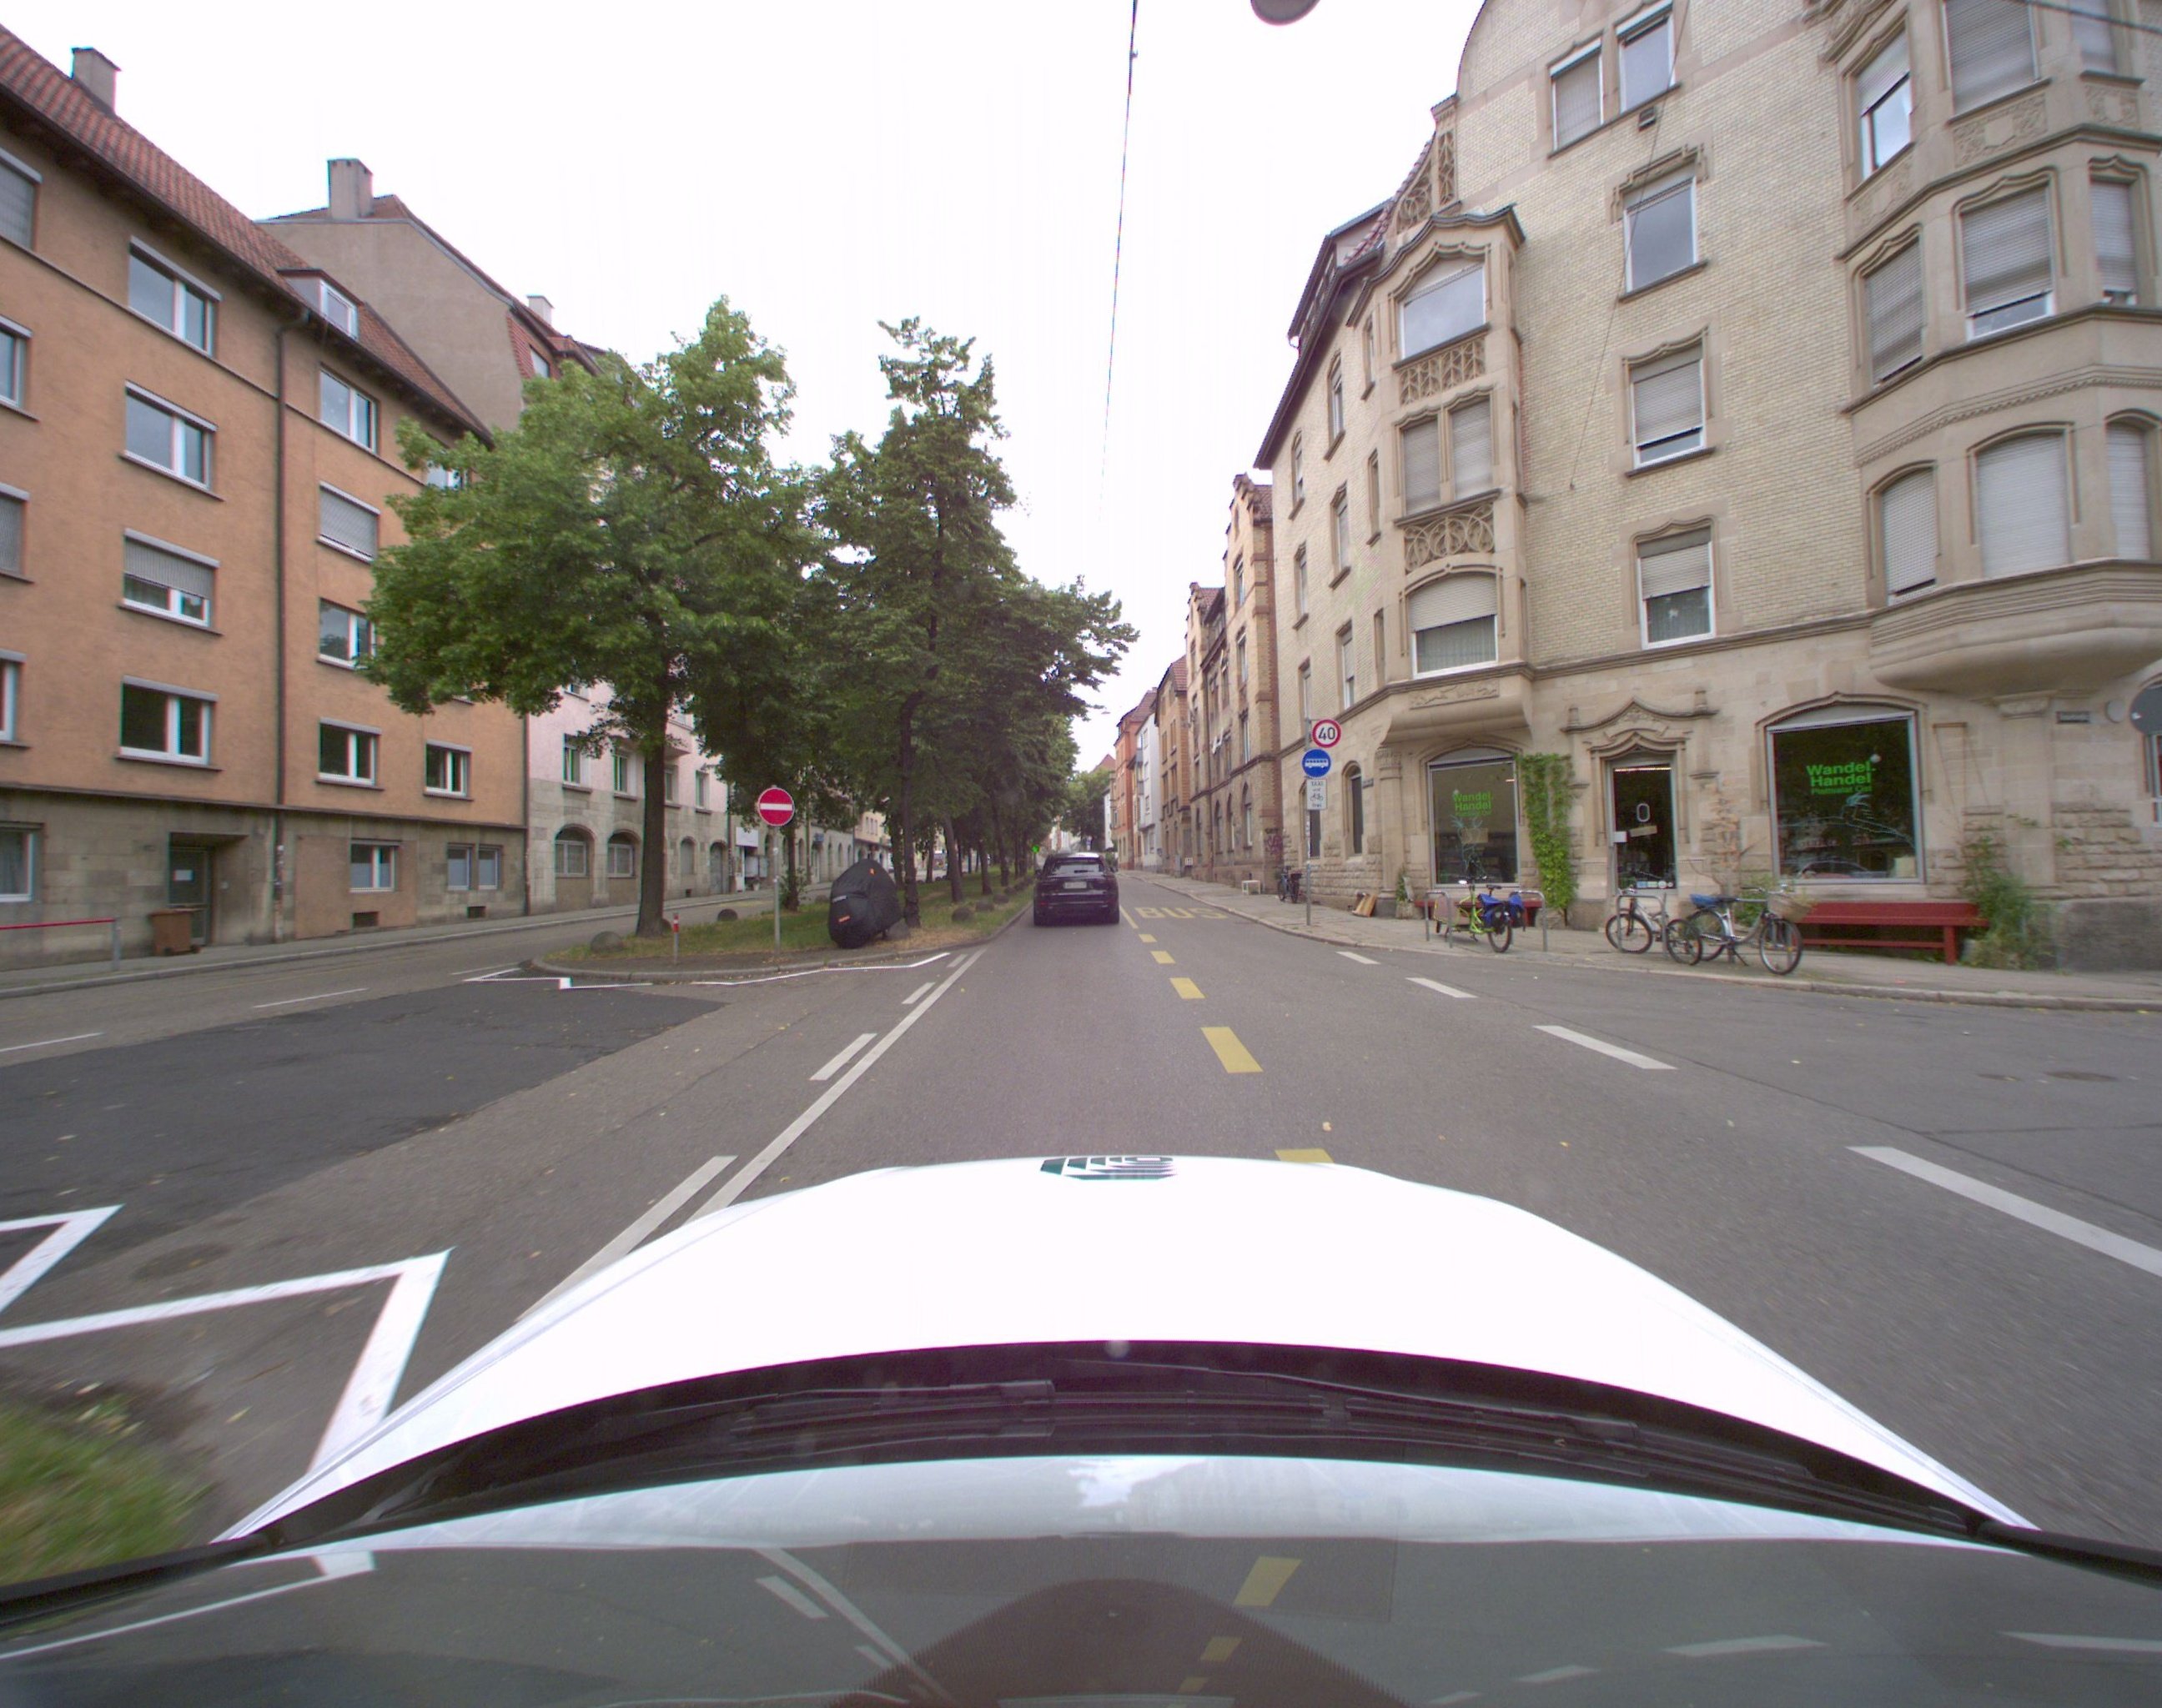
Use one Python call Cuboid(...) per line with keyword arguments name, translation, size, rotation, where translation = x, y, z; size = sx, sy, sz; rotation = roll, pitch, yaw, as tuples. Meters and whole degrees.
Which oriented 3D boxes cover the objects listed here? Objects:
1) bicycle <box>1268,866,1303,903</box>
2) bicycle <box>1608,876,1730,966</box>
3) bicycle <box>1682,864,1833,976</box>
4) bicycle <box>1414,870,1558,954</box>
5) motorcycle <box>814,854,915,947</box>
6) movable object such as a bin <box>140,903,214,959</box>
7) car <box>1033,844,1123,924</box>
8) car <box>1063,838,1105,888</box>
Cuboid(name="bicycle", translation=(6.050, 0.873, 24.207), size=(0.445, 1.037, 2.248), rotation=(-2, -1, 0))
Cuboid(name="bicycle", translation=(8.032, 0.875, 11.224), size=(0.347, 1.059, 1.834), rotation=(1, 1, 1))
Cuboid(name="bicycle", translation=(8.797, 0.808, 10.698), size=(0.445, 1.161, 1.835), rotation=(-2, 5, 1))
Cuboid(name="bicycle", translation=(6.296, 0.838, 12.927), size=(0.875, 1.129, 2.980), rotation=(-1, 0, 2))
Cuboid(name="motorcycle", translation=(-3.710, 0.749, 14.219), size=(1.016, 1.446, 2.248), rotation=(-3, -1, 2))
Cuboid(name="movable object such as a bin", translation=(-17.975, 1.520, 16.208), size=(0.690, 1.060, 0.689), rotation=(-1, -1, -3))
Cuboid(name="car", translation=(-0.098, 0.638, 19.905), size=(1.988, 1.665, 3.999), rotation=(0, 2, -1))
Cuboid(name="car", translation=(0.101, 0.377, 38.406), size=(1.844, 2.182, 3.999), rotation=(0, 2, -1))
